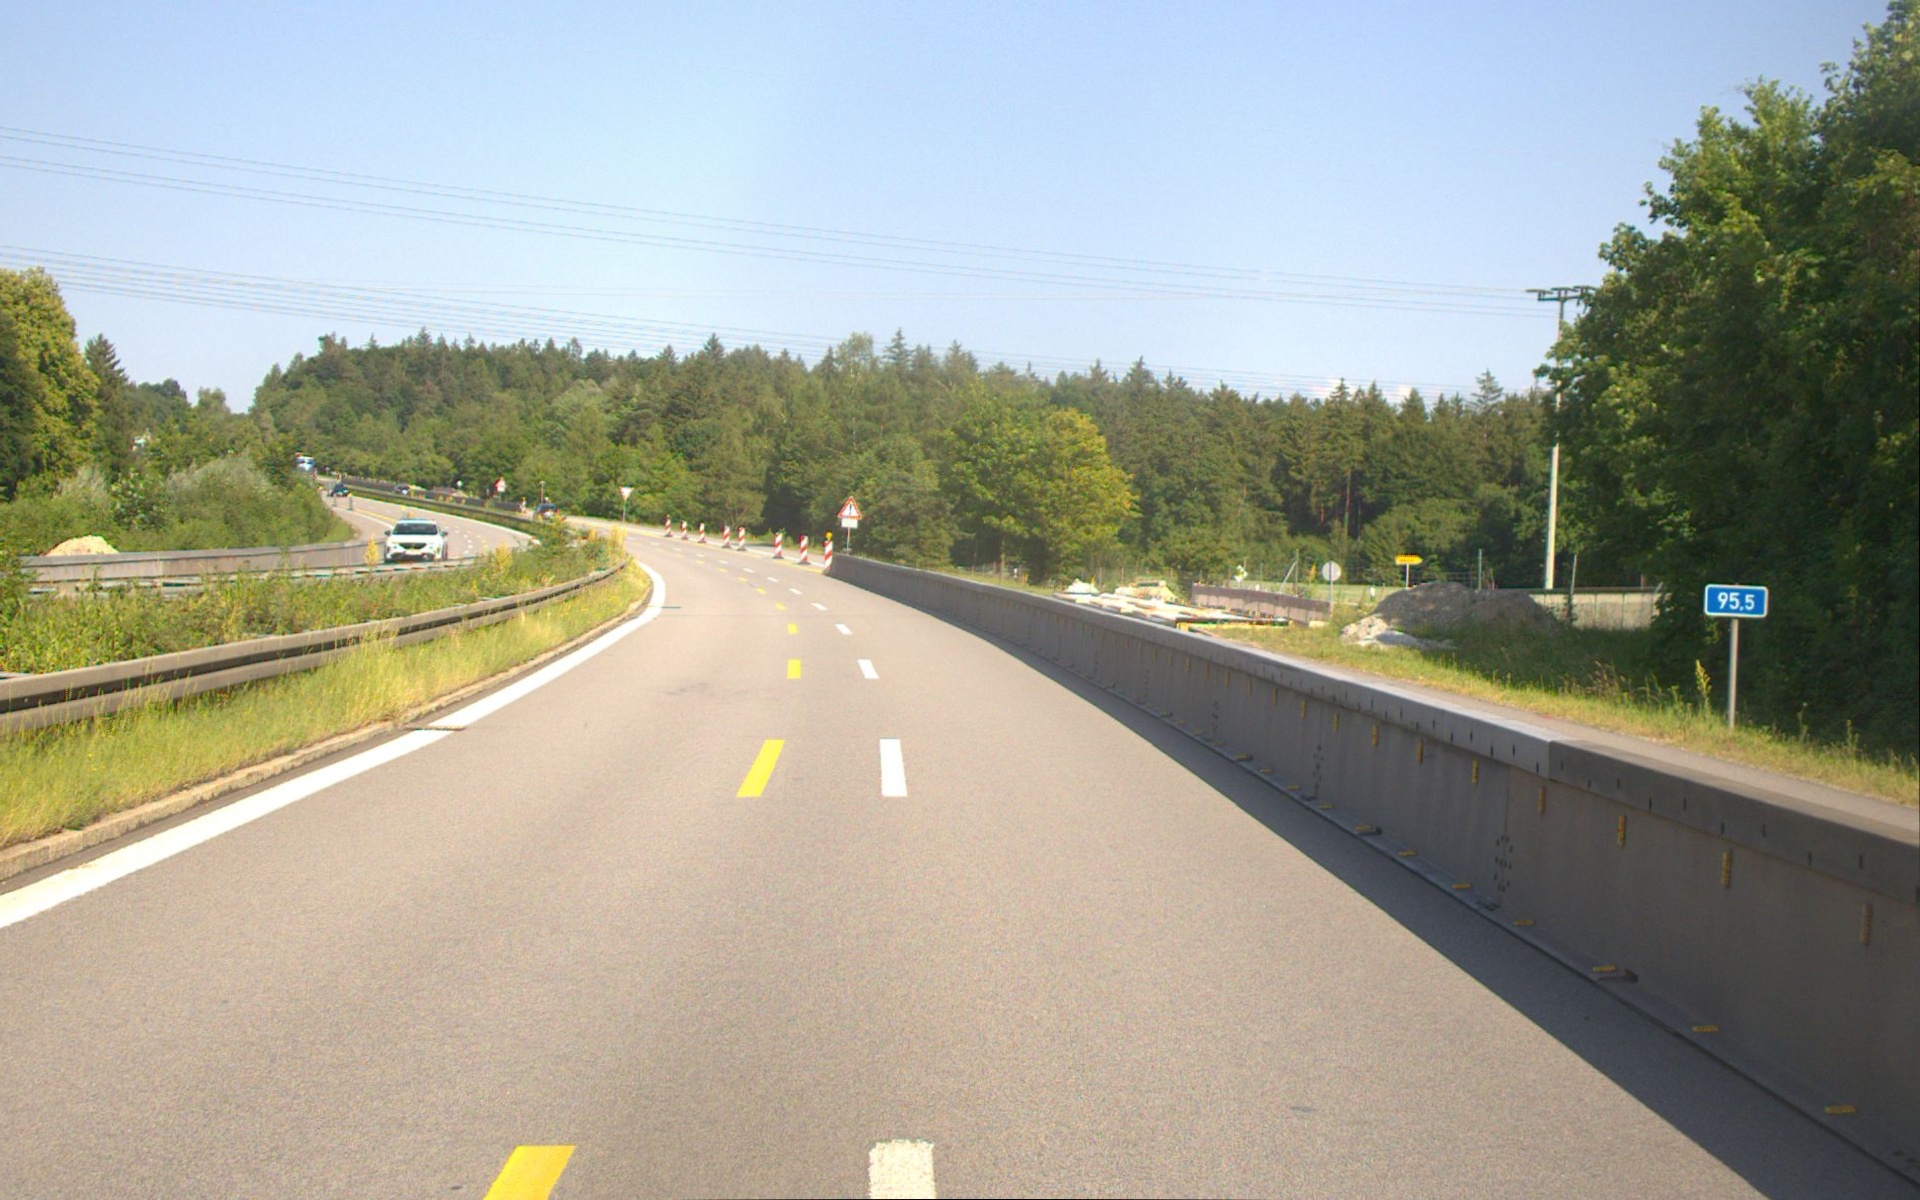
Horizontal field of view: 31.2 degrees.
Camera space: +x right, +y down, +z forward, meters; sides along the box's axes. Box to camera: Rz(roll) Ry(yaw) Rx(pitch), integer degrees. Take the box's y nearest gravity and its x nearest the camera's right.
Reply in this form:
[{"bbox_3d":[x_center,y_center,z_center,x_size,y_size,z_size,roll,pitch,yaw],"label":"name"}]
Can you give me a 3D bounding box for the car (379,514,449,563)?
[{"bbox_3d":[-17.285,-1.929,108.990,1.759,1.506,4.535,1,1,-4],"label":"car"}]
